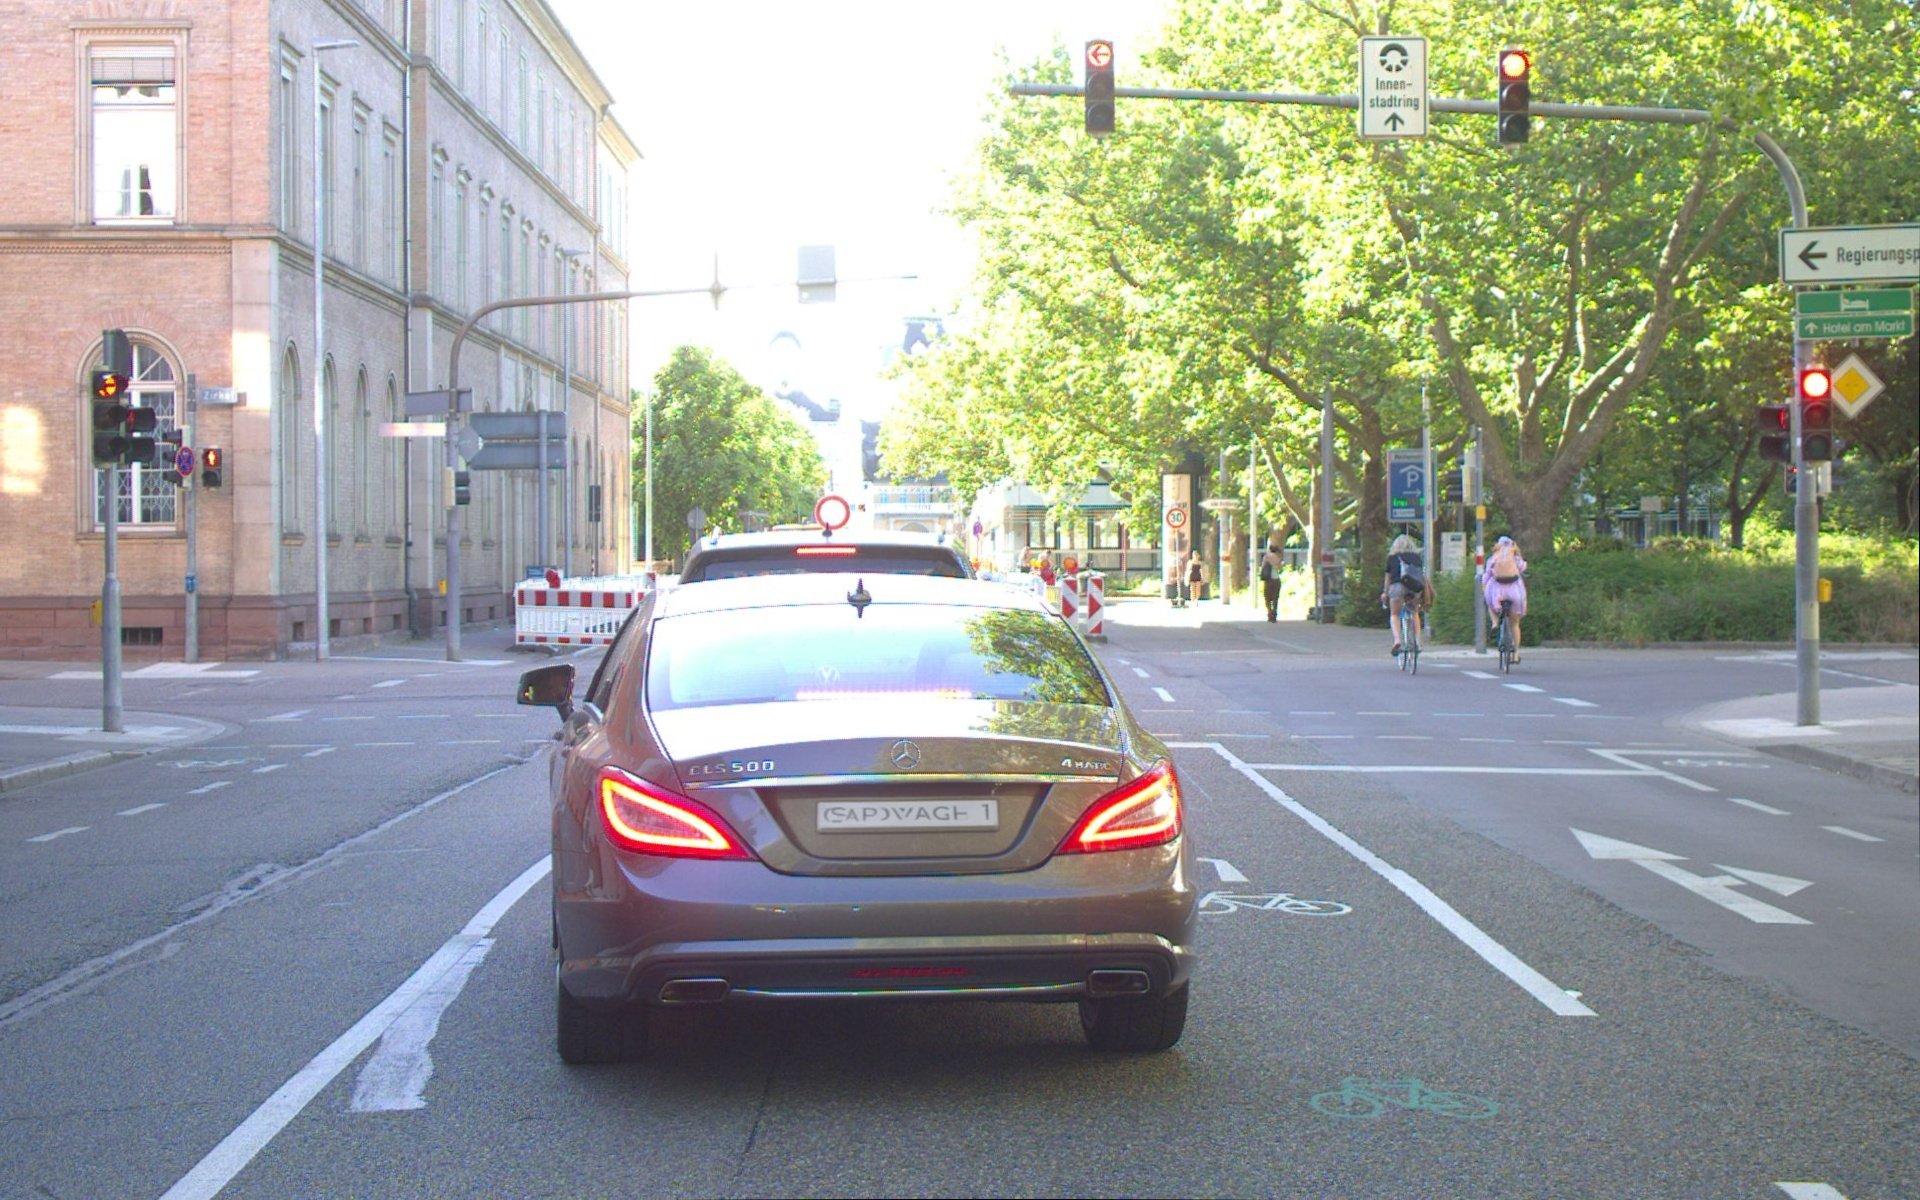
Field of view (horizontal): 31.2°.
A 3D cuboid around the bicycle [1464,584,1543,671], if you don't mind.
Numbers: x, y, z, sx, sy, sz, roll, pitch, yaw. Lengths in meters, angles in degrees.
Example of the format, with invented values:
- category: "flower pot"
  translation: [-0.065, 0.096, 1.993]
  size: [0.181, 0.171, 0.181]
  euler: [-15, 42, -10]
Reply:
- category: "bicycle"
  translation: [6.554, 0.321, 41.537]
  size: [0.600, 0.981, 1.881]
  euler: [2, 1, -1]

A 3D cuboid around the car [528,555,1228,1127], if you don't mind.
- category: "car"
  translation: [-0.473, 0.589, 11.119]
  size: [1.821, 1.471, 4.354]
  euler: [0, 1, -7]

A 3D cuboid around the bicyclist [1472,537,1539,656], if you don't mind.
- category: "bicyclist"
  translation: [6.570, -0.052, 41.442]
  size: [0.600, 1.397, 0.931]
  euler: [2, 1, -1]

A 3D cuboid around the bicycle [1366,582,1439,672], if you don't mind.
- category: "bicycle"
  translation: [5.311, 0.309, 41.321]
  size: [0.610, 1.023, 1.731]
  euler: [1, 1, -1]

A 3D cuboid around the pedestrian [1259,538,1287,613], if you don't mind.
- category: "pedestrian"
  translation: [6.973, -0.549, 76.576]
  size: [0.559, 1.672, 0.564]
  euler: [0, 1, -1]

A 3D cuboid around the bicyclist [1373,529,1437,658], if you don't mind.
- category: "bicyclist"
  translation: [5.325, -0.086, 41.178]
  size: [0.610, 1.511, 0.890]
  euler: [1, 1, -1]

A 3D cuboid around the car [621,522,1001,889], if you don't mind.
- category: "car"
  translation: [-0.719, 0.441, 17.133]
  size: [1.681, 1.619, 3.841]
  euler: [0, 1, -2]
